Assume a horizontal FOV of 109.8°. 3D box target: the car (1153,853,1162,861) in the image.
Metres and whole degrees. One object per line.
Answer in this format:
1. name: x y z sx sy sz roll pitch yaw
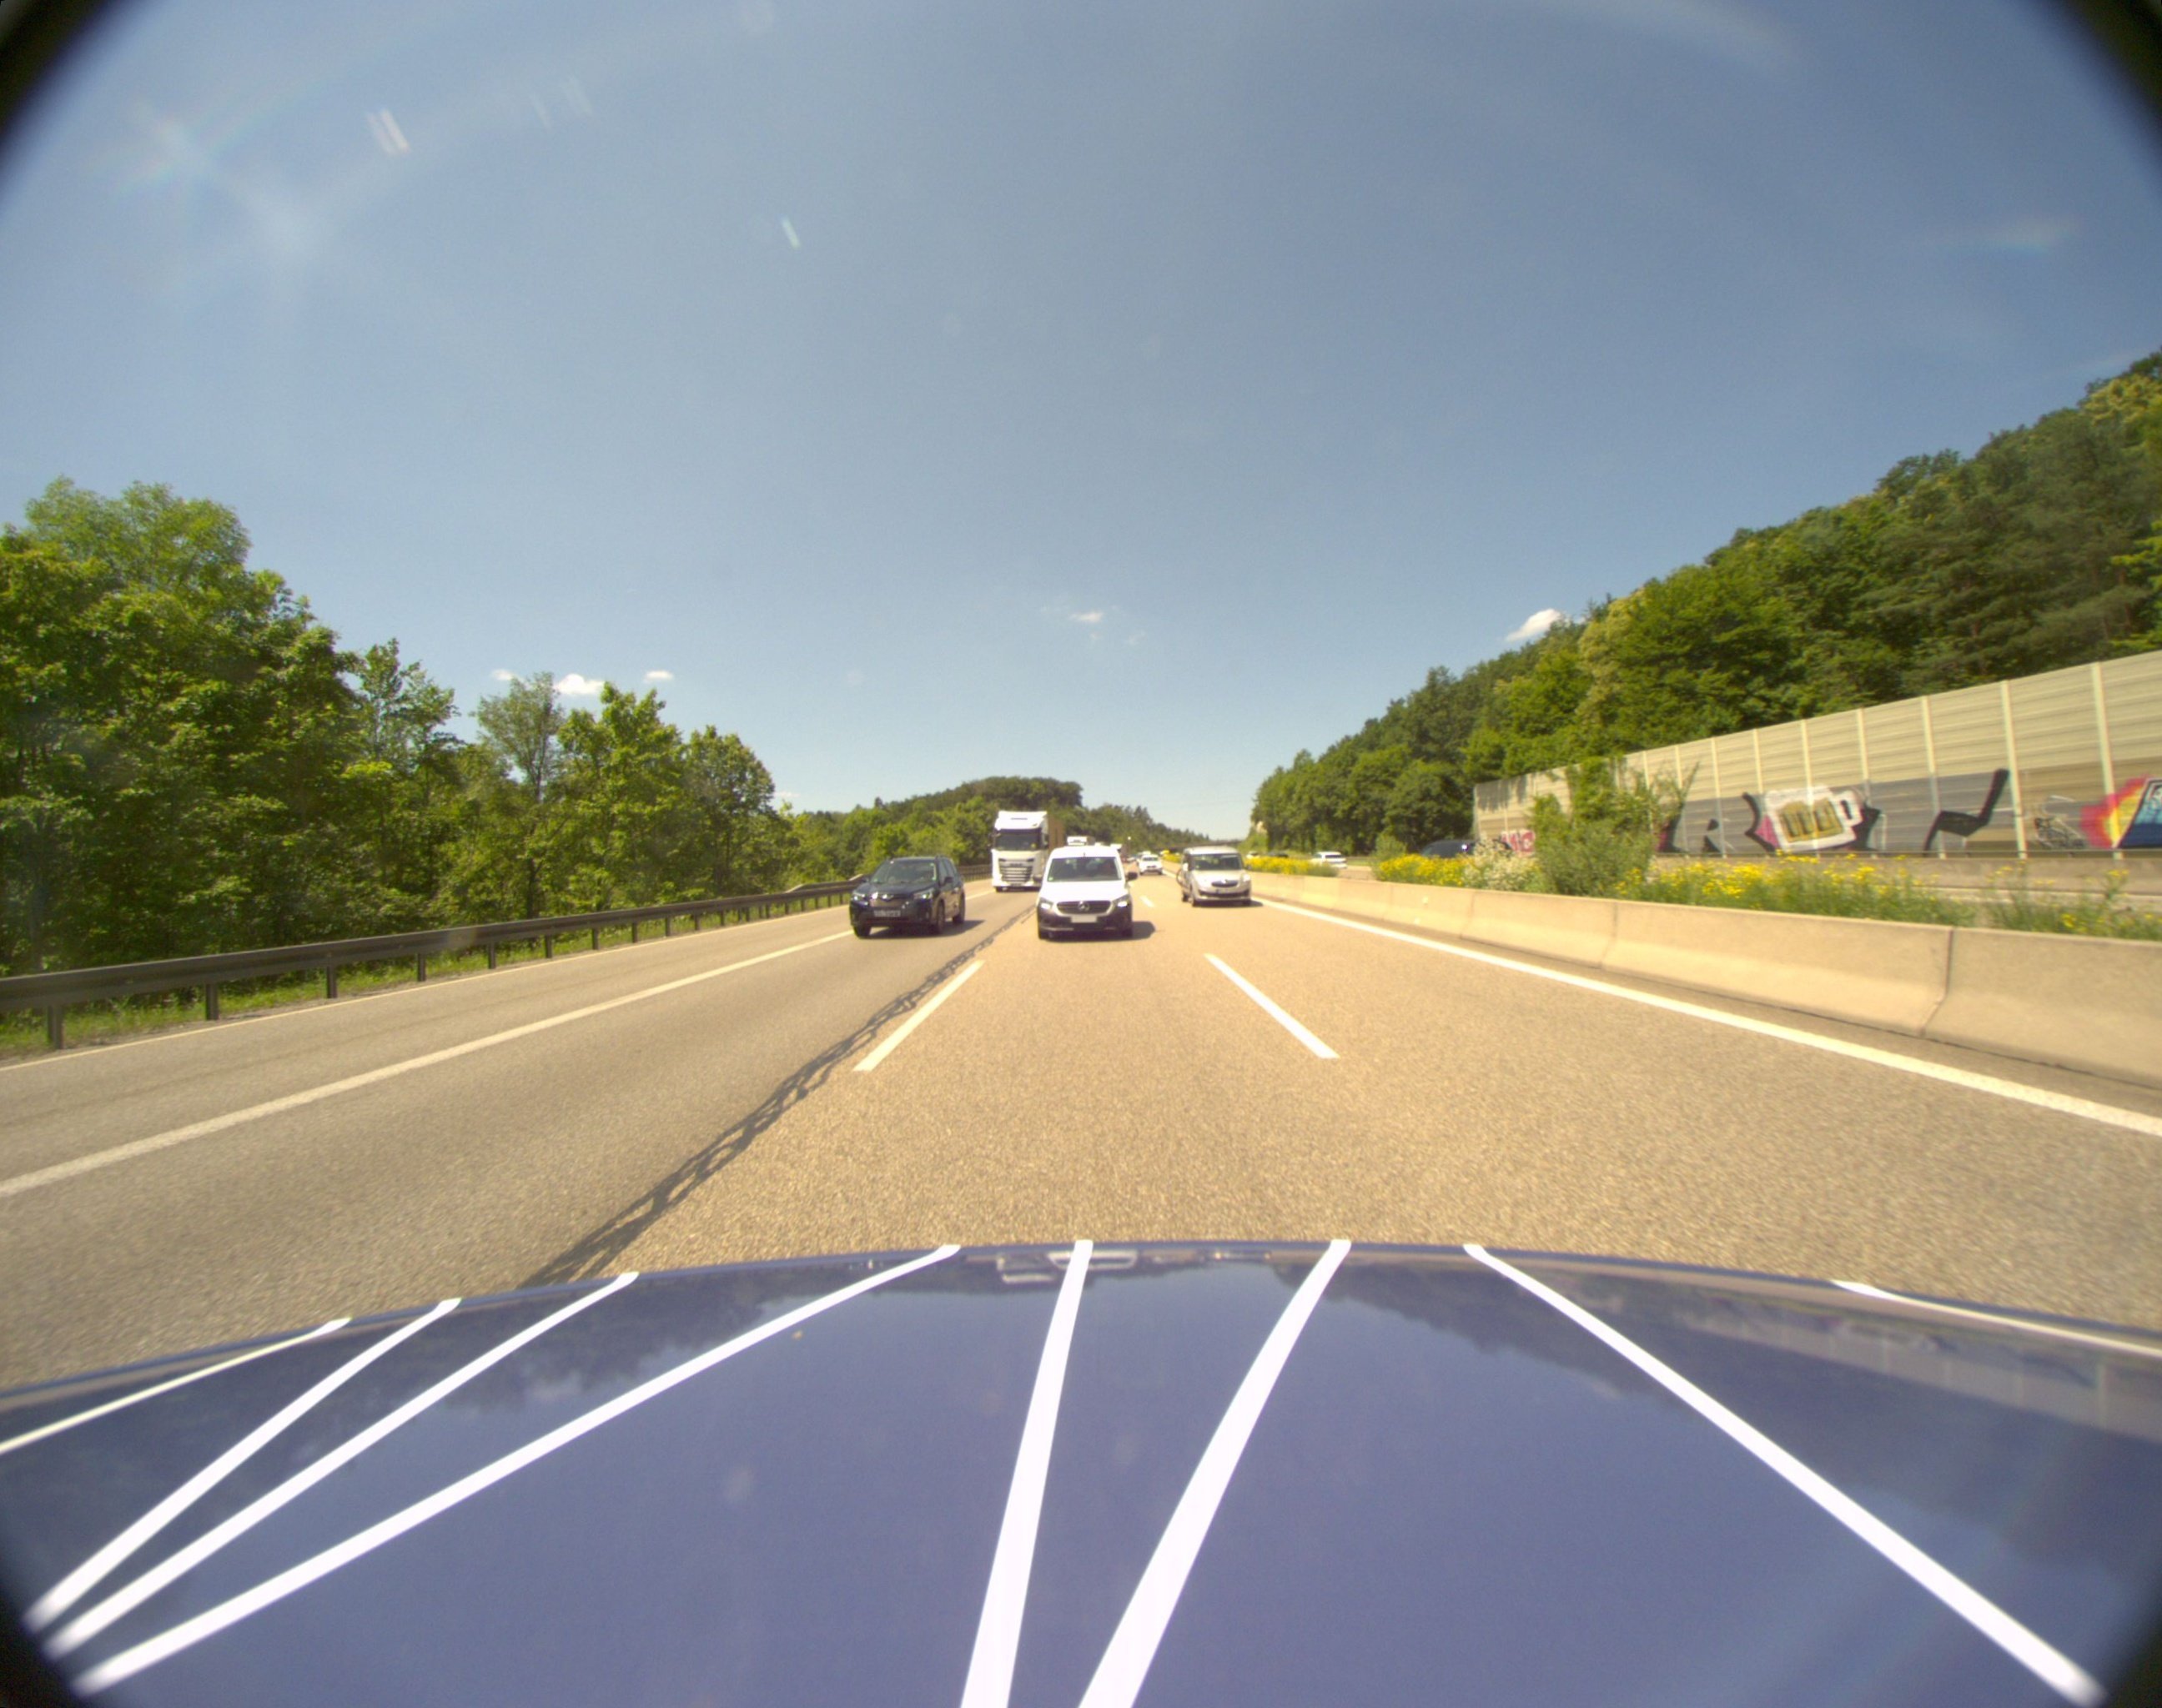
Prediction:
1. car: 19.627 0.732 195.215 1.678 2.002 3.906 -2 0 0

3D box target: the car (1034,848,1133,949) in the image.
1. car: 0.155 0.785 15.786 1.729 1.760 4.313 -1 1 3

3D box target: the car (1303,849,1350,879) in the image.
1. car: 16.545 0.628 51.374 1.742 1.911 4.504 -1 1 1

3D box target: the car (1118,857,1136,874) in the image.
1. car: 5.945 1.488 98.904 1.998 2.002 4.000 -2 0 0

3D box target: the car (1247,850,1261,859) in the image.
1. car: 29.307 0.044 128.579 1.633 1.473 4.314 -1 0 3

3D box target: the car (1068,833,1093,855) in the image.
1. car: -0.038 -1.234 92.153 2.721 2.534 5.941 -1 1 3

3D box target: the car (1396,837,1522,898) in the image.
1. car: 11.692 0.392 23.881 1.688 1.688 4.659 -2 0 1

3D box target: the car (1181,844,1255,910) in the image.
1. car: 4.184 0.659 23.786 1.780 1.833 4.001 -1 0 3

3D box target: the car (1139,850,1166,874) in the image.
1. car: 5.943 0.647 63.601 1.998 1.827 4.001 -2 0 3

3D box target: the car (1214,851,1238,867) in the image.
1. car: 14.798 0.508 77.791 1.751 1.568 4.714 -1 0 2

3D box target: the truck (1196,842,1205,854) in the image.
1. truck: 36.570 -1.876 232.950 1.998 3.485 6.027 -2 0 3

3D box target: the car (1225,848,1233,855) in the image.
1. car: 39.785 -0.648 204.434 1.731 1.625 4.001 -2 0 3

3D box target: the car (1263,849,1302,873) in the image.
1. car: 13.051 0.454 49.429 1.620 1.459 3.753 -2 0 1

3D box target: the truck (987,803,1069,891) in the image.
1. truck: -2.680 -0.368 44.752 2.789 4.144 16.270 -2 0 3

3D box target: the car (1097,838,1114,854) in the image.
1. car: 4.244 -1.360 128.978 2.721 2.534 5.941 -1 1 3

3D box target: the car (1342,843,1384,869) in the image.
1. car: 22.608 0.140 61.072 1.742 1.911 4.504 -1 1 1

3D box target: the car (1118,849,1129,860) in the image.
1. car: 7.640 0.065 137.154 1.902 2.002 4.000 -2 0 1

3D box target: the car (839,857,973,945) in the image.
1. car: -3.795 0.954 17.245 1.816 1.658 4.204 -1 1 3

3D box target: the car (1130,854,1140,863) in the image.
1. car: 12.350 1.021 173.605 1.998 2.002 4.001 -2 0 2

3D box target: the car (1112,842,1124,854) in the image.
1. car: 8.597 -1.391 177.178 2.721 2.534 5.941 -1 1 3
